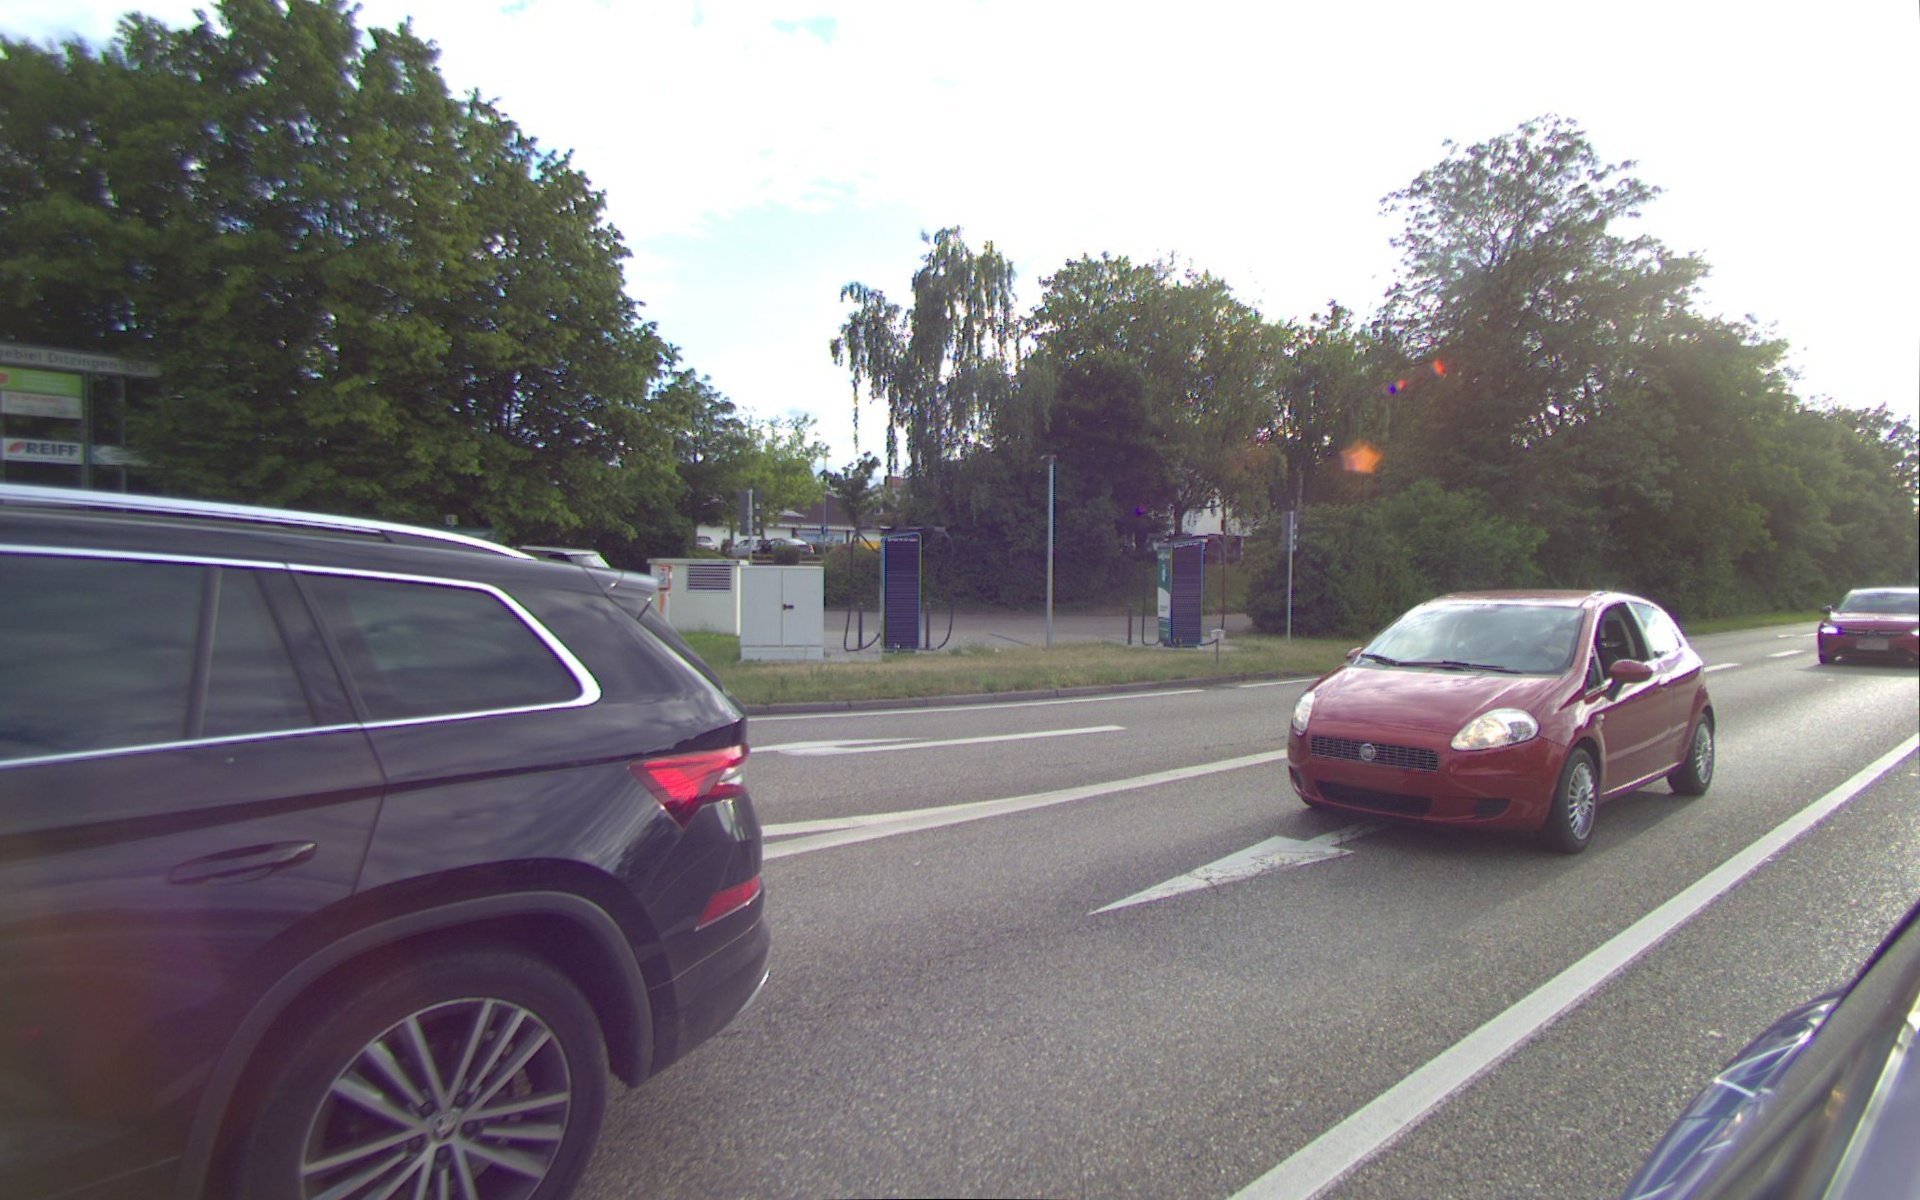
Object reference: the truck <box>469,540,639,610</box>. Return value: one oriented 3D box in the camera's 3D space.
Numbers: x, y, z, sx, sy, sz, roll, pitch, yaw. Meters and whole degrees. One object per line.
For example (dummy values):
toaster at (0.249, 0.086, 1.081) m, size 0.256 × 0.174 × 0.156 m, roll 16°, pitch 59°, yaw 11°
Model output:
truck at (-12.196, -0.736, 30.479) m, size 4.602 × 2.022 × 1.816 m, roll 0°, pitch 1°, yaw 15°

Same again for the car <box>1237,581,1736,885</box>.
car at (3.694, 0.609, 6.784) m, size 3.925 × 1.450 × 1.665 m, roll -1°, pitch 1°, yaw -41°

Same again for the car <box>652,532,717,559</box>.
car at (-18.166, -3.548, 66.695) m, size 3.966 × 1.582 × 1.979 m, roll -1°, pitch 1°, yaw 30°

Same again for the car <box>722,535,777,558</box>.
car at (-14.624, -3.666, 70.216) m, size 1.968 × 1.382 × 3.989 m, roll -2°, pitch 1°, yaw -44°

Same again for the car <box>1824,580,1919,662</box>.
car at (18.100, 0.340, 19.470) m, size 3.931 × 1.433 × 1.699 m, roll -1°, pitch 1°, yaw -41°

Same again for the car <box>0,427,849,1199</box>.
car at (-2.552, 0.574, 1.897) m, size 4.403 × 1.671 × 1.847 m, roll -1°, pitch 0°, yaw -41°
